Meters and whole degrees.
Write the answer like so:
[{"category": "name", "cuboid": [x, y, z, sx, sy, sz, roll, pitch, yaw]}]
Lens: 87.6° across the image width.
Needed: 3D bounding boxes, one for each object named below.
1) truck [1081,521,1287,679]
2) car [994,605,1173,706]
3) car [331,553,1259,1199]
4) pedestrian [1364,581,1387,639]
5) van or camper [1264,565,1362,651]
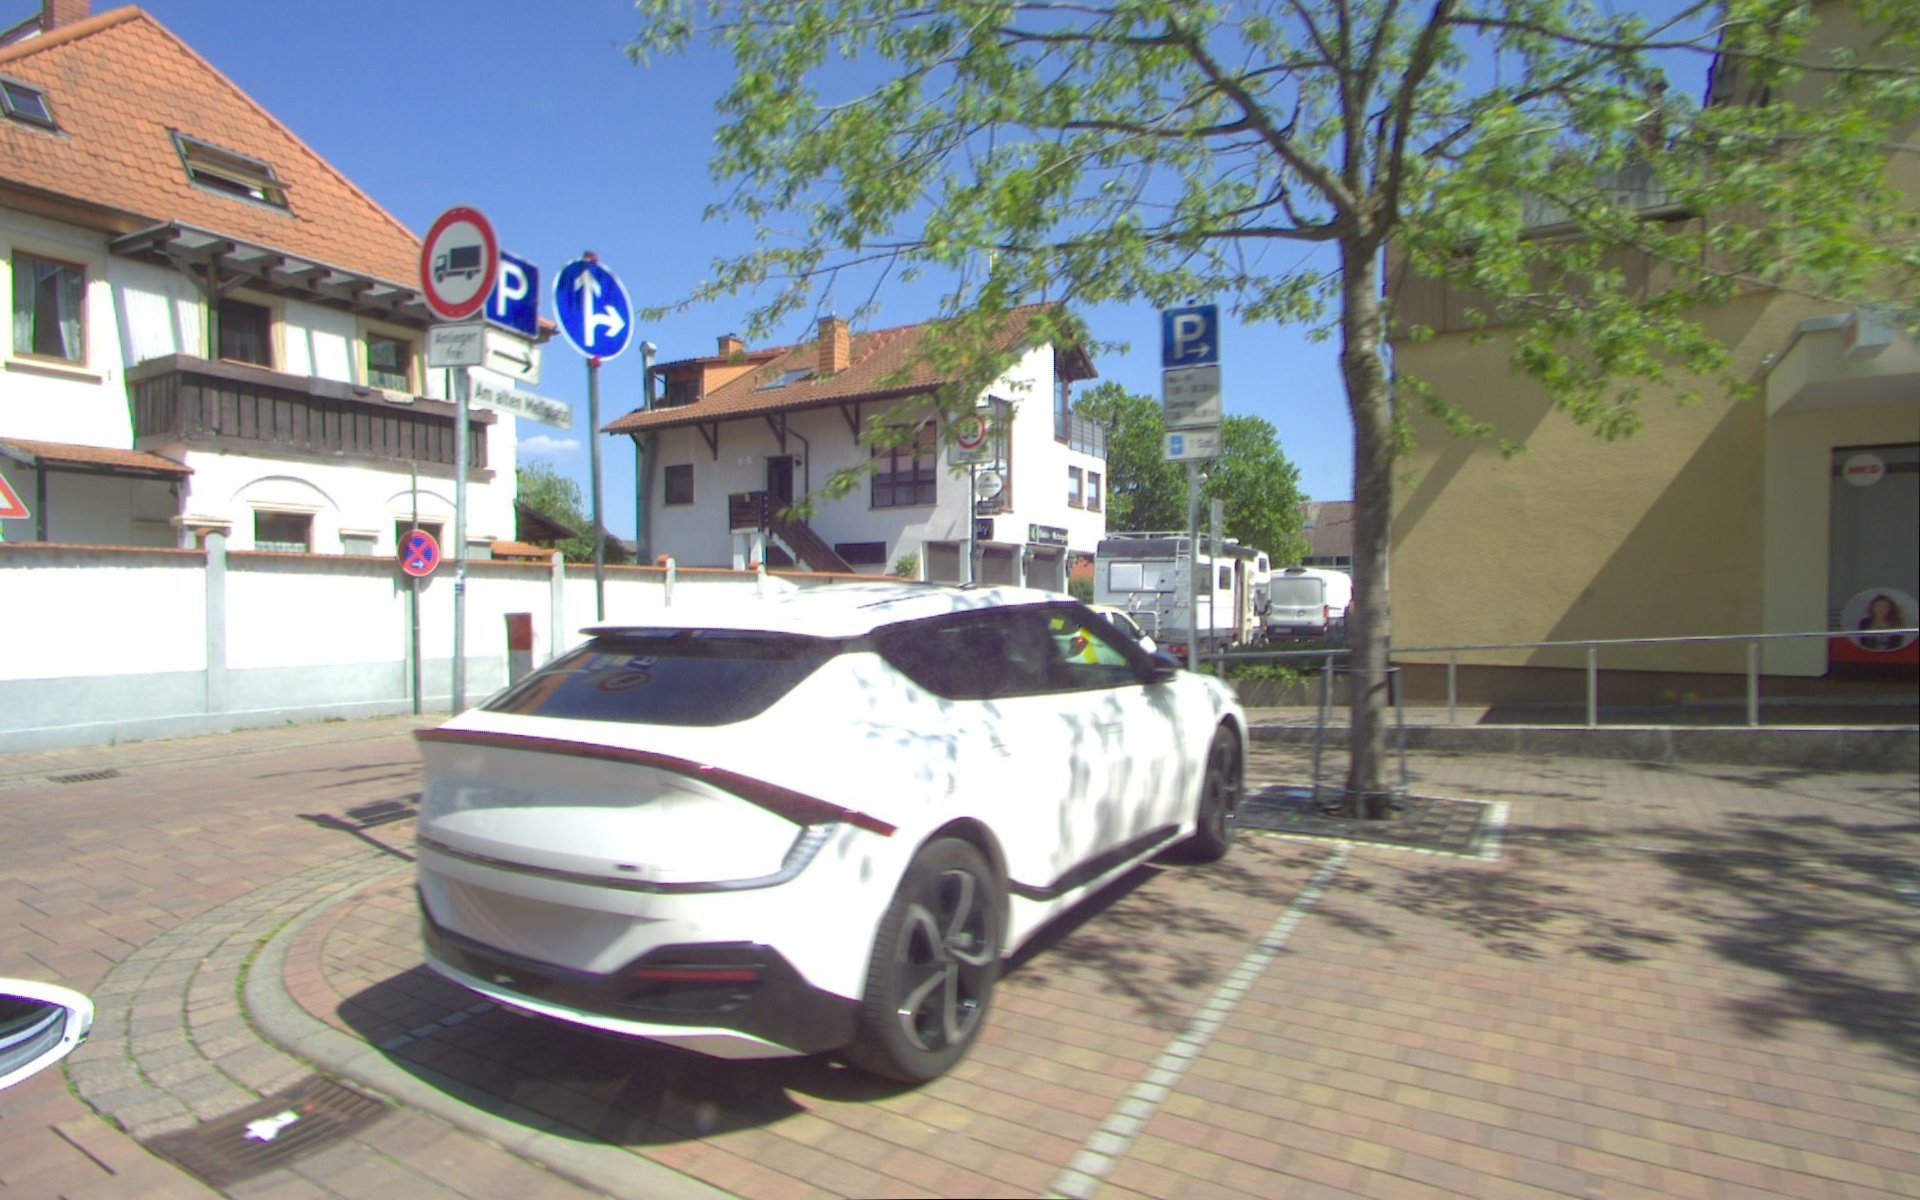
[{"category": "truck", "cuboid": [5.266, 0.030, 22.617, 2.509, 3.045, 6.370, 0, 0, 33]}, {"category": "car", "cuboid": [2.180, 0.839, 16.918, 1.631, 1.471, 3.607, 1, 0, 32]}, {"category": "car", "cuboid": [-0.091, 0.640, 4.632, 1.763, 1.597, 4.430, 0, 2, 31]}, {"category": "pedestrian", "cuboid": [12.761, 0.302, 30.748, 0.494, 1.754, 0.756, 0, 1, 35]}, {"category": "van or camper", "cuboid": [11.298, 0.260, 31.851, 2.039, 2.511, 4.649, 0, 0, 31]}]
